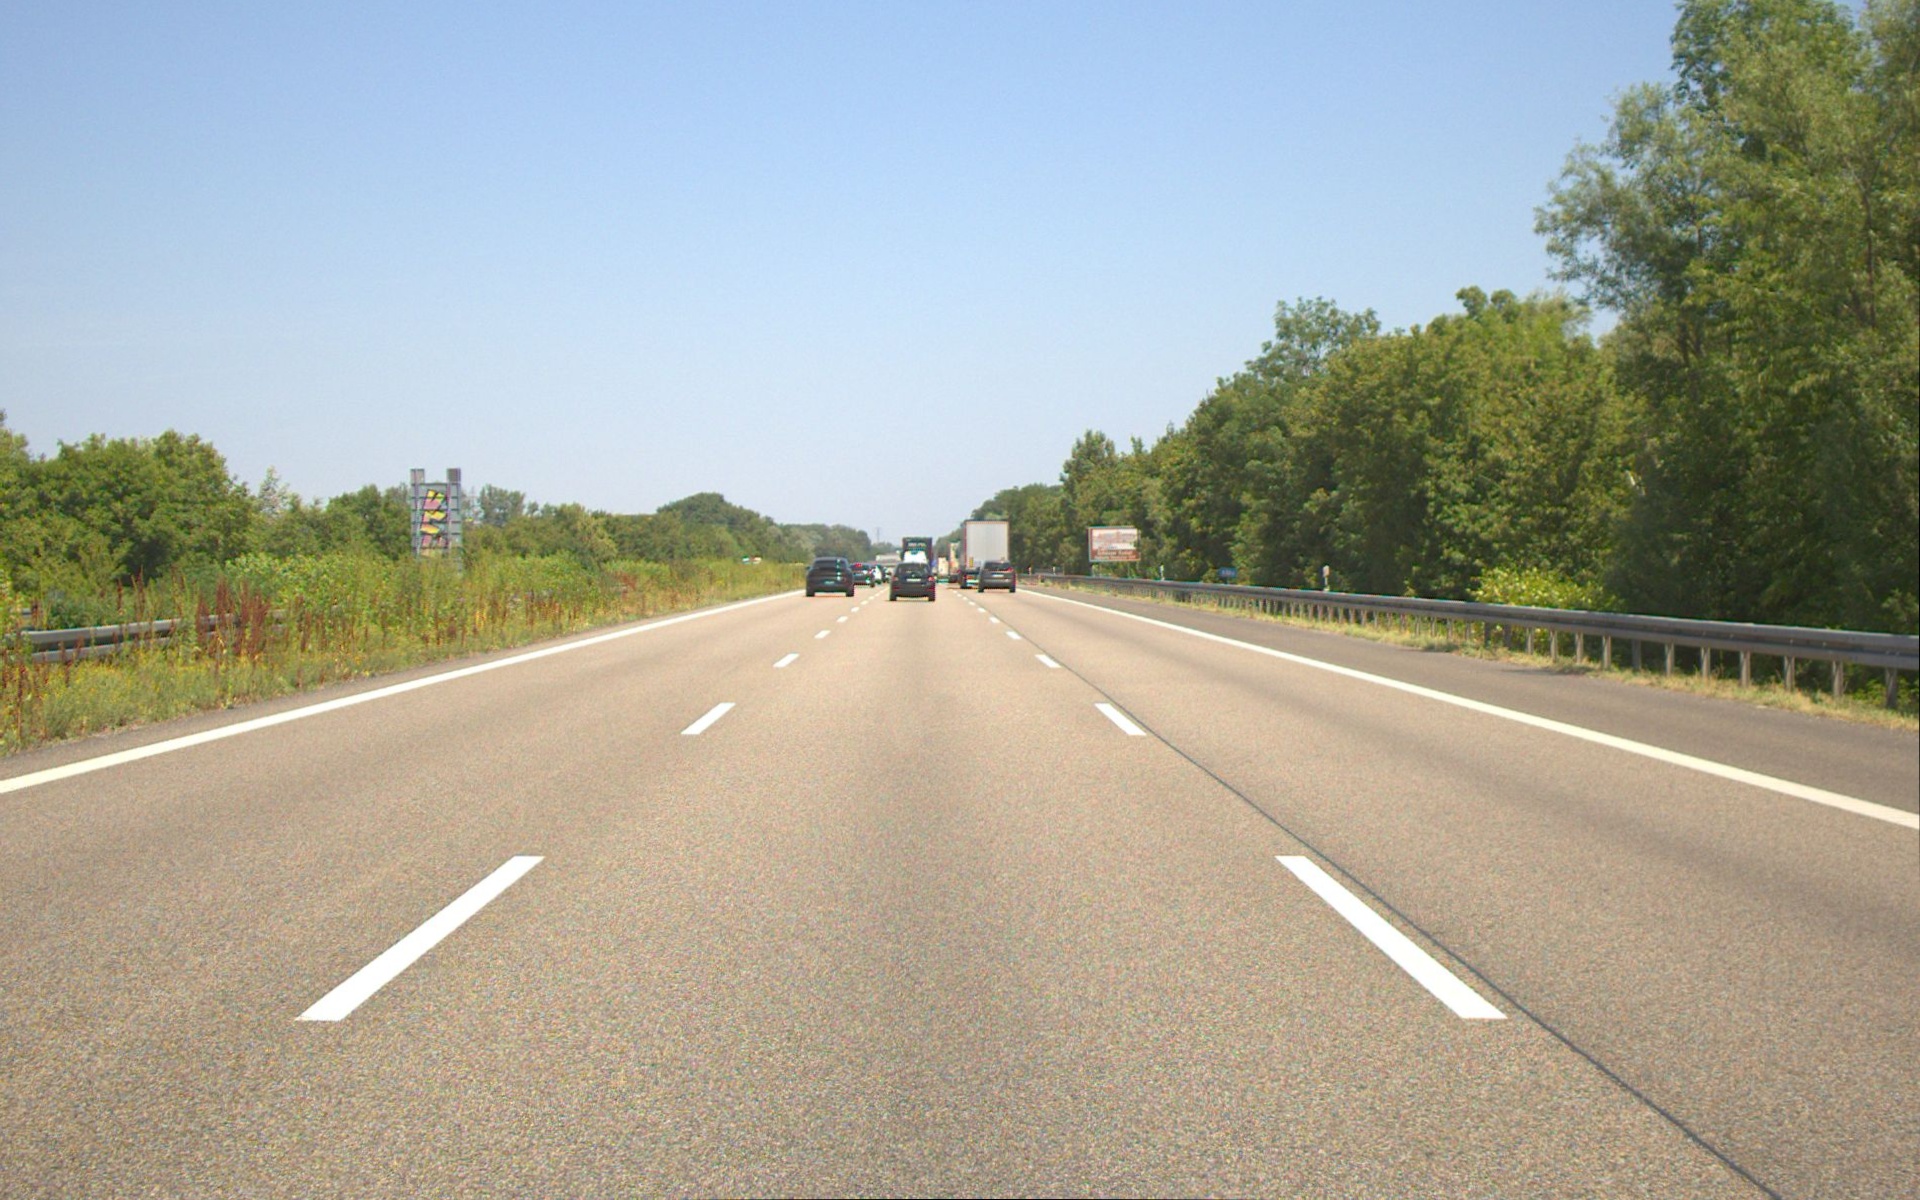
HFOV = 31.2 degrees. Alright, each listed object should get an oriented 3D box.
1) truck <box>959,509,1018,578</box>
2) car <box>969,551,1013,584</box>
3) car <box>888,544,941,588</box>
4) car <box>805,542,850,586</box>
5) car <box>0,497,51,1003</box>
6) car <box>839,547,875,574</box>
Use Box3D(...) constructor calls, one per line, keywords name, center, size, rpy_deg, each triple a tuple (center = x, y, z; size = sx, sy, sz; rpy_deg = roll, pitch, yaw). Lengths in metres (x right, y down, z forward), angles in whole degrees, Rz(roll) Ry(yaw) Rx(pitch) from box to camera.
Box3D(name="truck", center=(1.656, -3.345, 203.724), size=(3.385, 3.957, 9.537), rpy_deg=(-1, 1, 0))
Box3D(name="car", center=(1.537, -1.632, 172.885), size=(2.128, 1.578, 4.304), rpy_deg=(-1, 1, 0))
Box3D(name="car", center=(-1.683, -1.266, 128.071), size=(1.903, 1.578, 4.304), rpy_deg=(-1, 1, 0))
Box3D(name="car", center=(-5.582, -1.537, 145.527), size=(1.880, 1.786, 4.001), rpy_deg=(0, 2, -2))
Box3D(name="car", center=(-4.006, 0.558, 9.265), size=(1.880, 1.634, 5.010), rpy_deg=(0, 2, -1))
Box3D(name="car", center=(-6.401, -2.464, 213.861), size=(2.128, 1.640, 4.304), rpy_deg=(-1, 1, 0))
